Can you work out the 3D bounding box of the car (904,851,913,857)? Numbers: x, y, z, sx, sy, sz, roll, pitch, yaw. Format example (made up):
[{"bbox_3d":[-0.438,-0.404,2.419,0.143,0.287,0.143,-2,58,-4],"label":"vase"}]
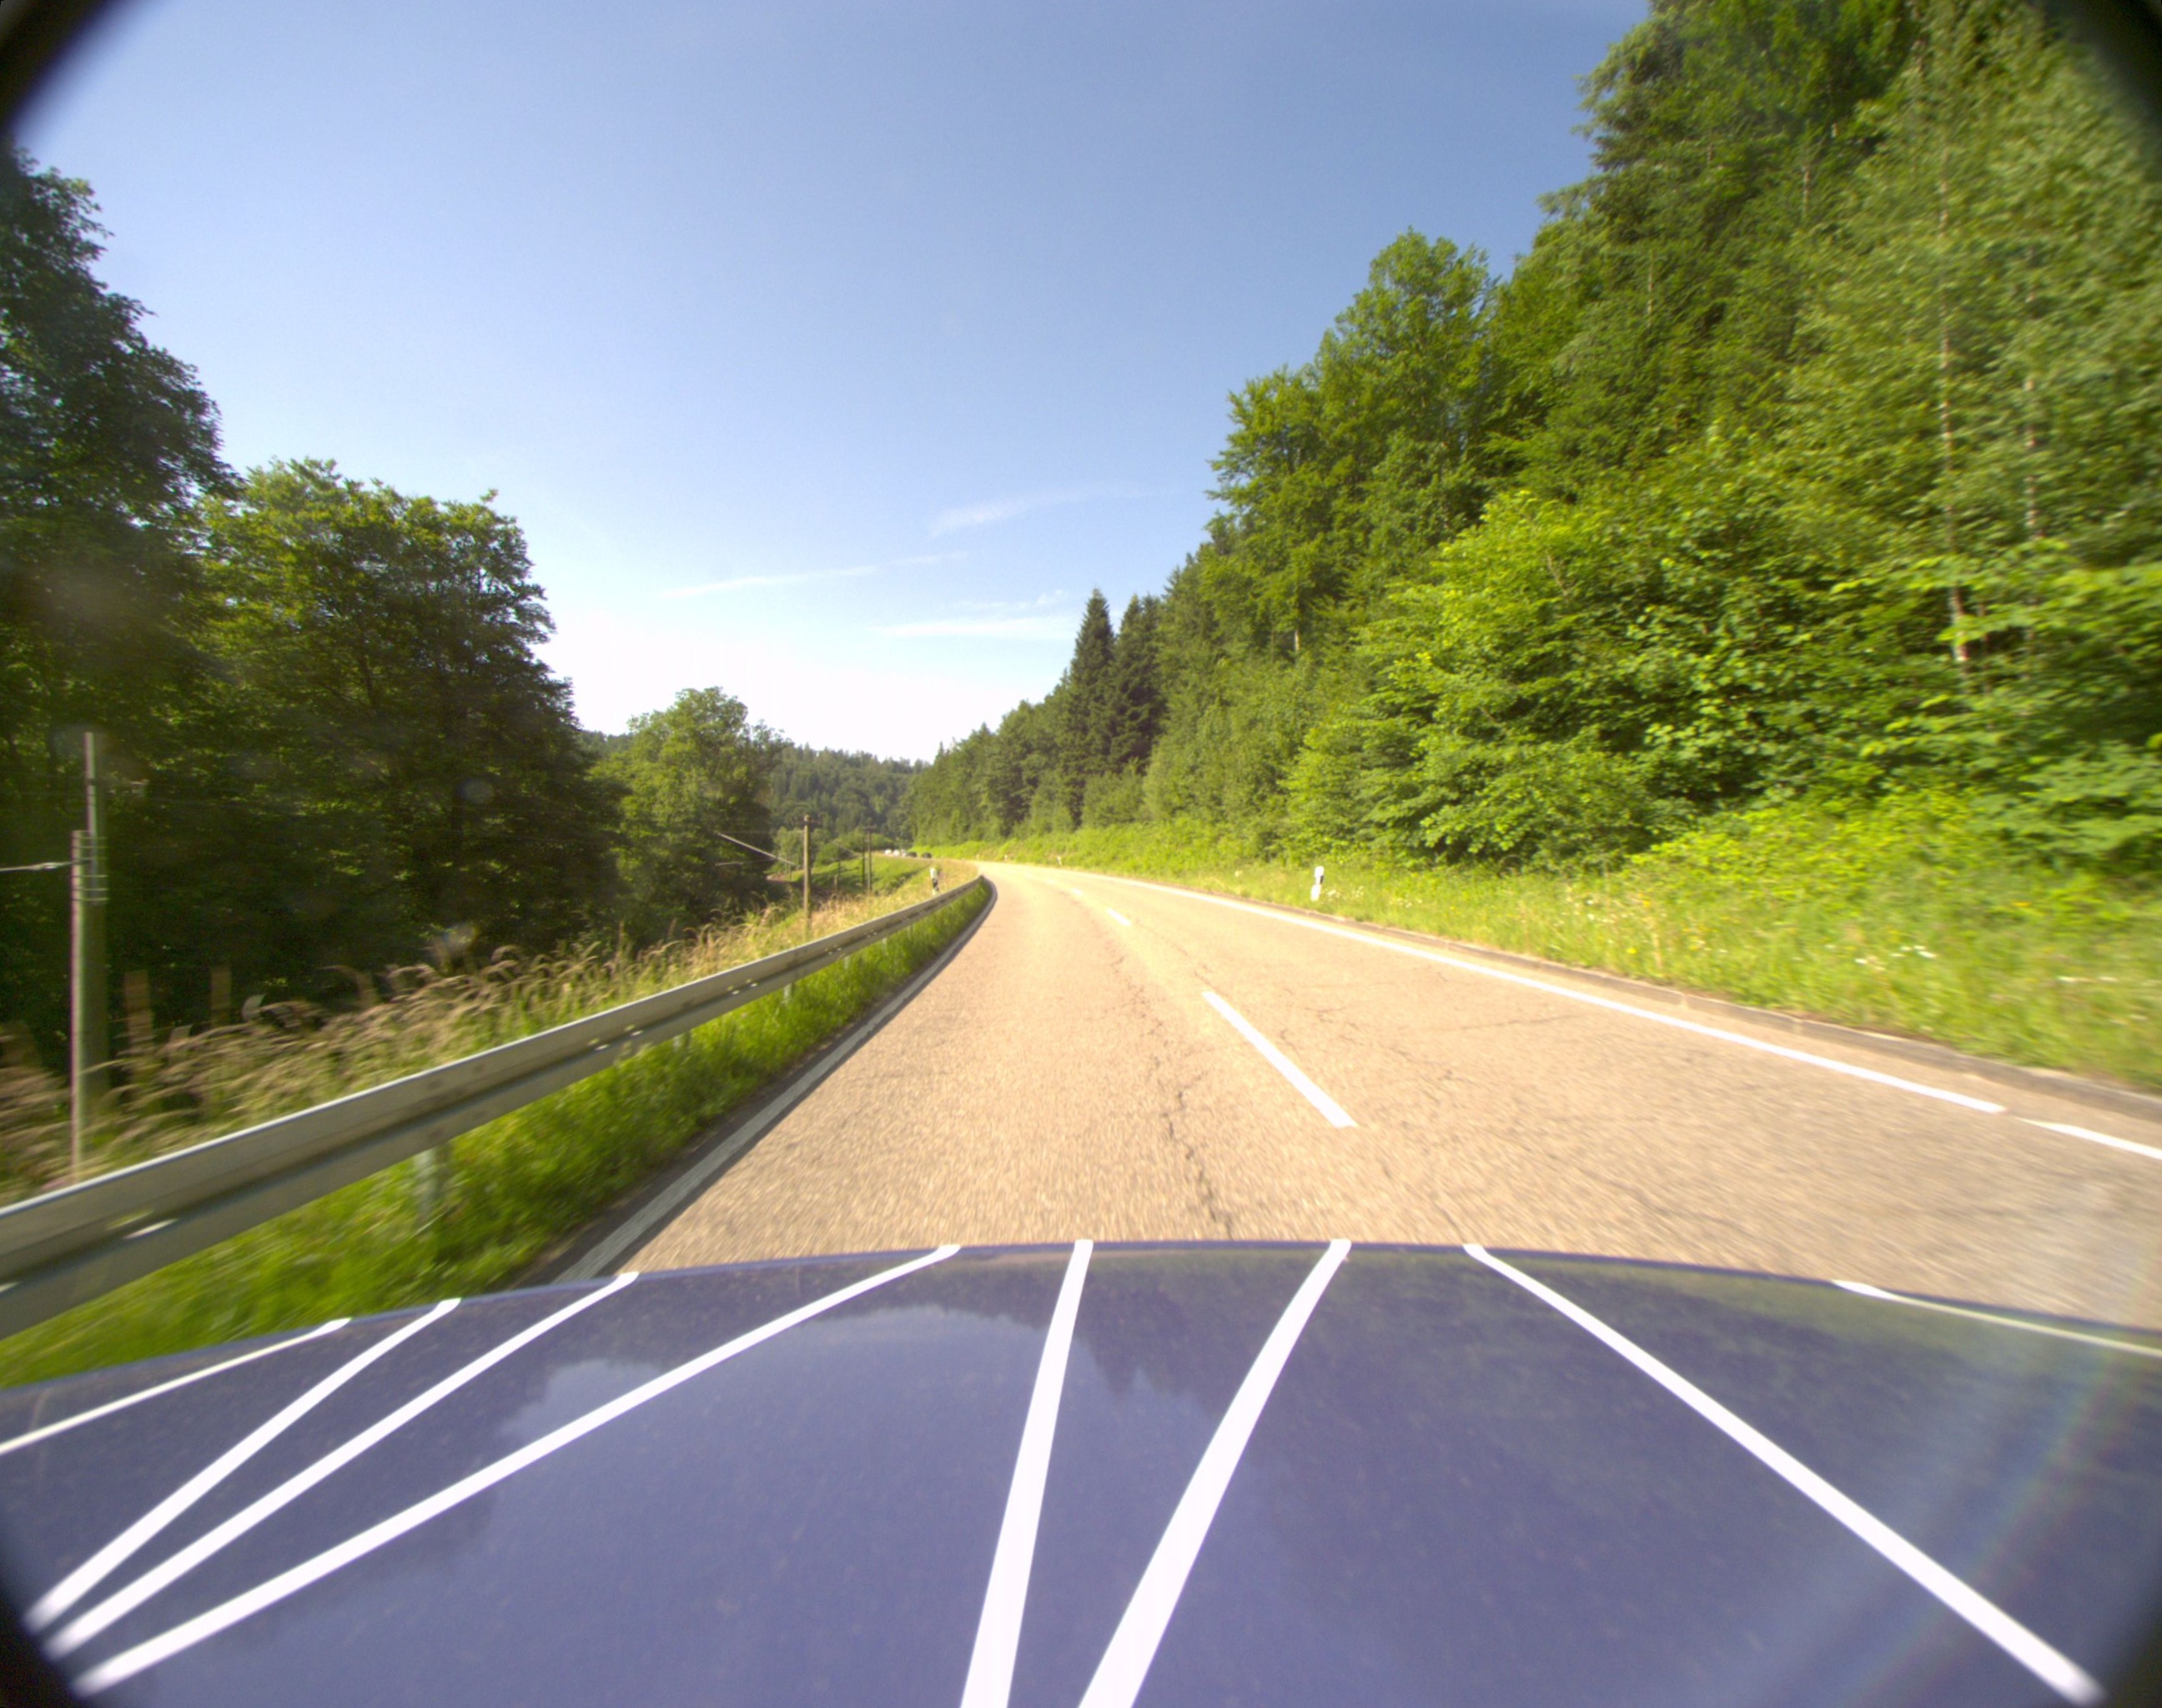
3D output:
[{"bbox_3d":[-44.942,-0.039,197.715,1.841,1.422,4.671,0,0,-17],"label":"car"}]

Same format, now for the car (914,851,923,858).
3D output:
[{"bbox_3d":[-39.419,0.121,183.802,1.839,1.619,4.345,-1,1,-16],"label":"car"}]

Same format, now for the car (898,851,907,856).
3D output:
[{"bbox_3d":[-52.732,-0.136,224.239,2.002,1.673,4.898,0,0,-18],"label":"car"}]

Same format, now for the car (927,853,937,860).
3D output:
[{"bbox_3d":[-32.294,0.592,164.644,1.864,1.520,3.995,-1,0,-13],"label":"car"}]
